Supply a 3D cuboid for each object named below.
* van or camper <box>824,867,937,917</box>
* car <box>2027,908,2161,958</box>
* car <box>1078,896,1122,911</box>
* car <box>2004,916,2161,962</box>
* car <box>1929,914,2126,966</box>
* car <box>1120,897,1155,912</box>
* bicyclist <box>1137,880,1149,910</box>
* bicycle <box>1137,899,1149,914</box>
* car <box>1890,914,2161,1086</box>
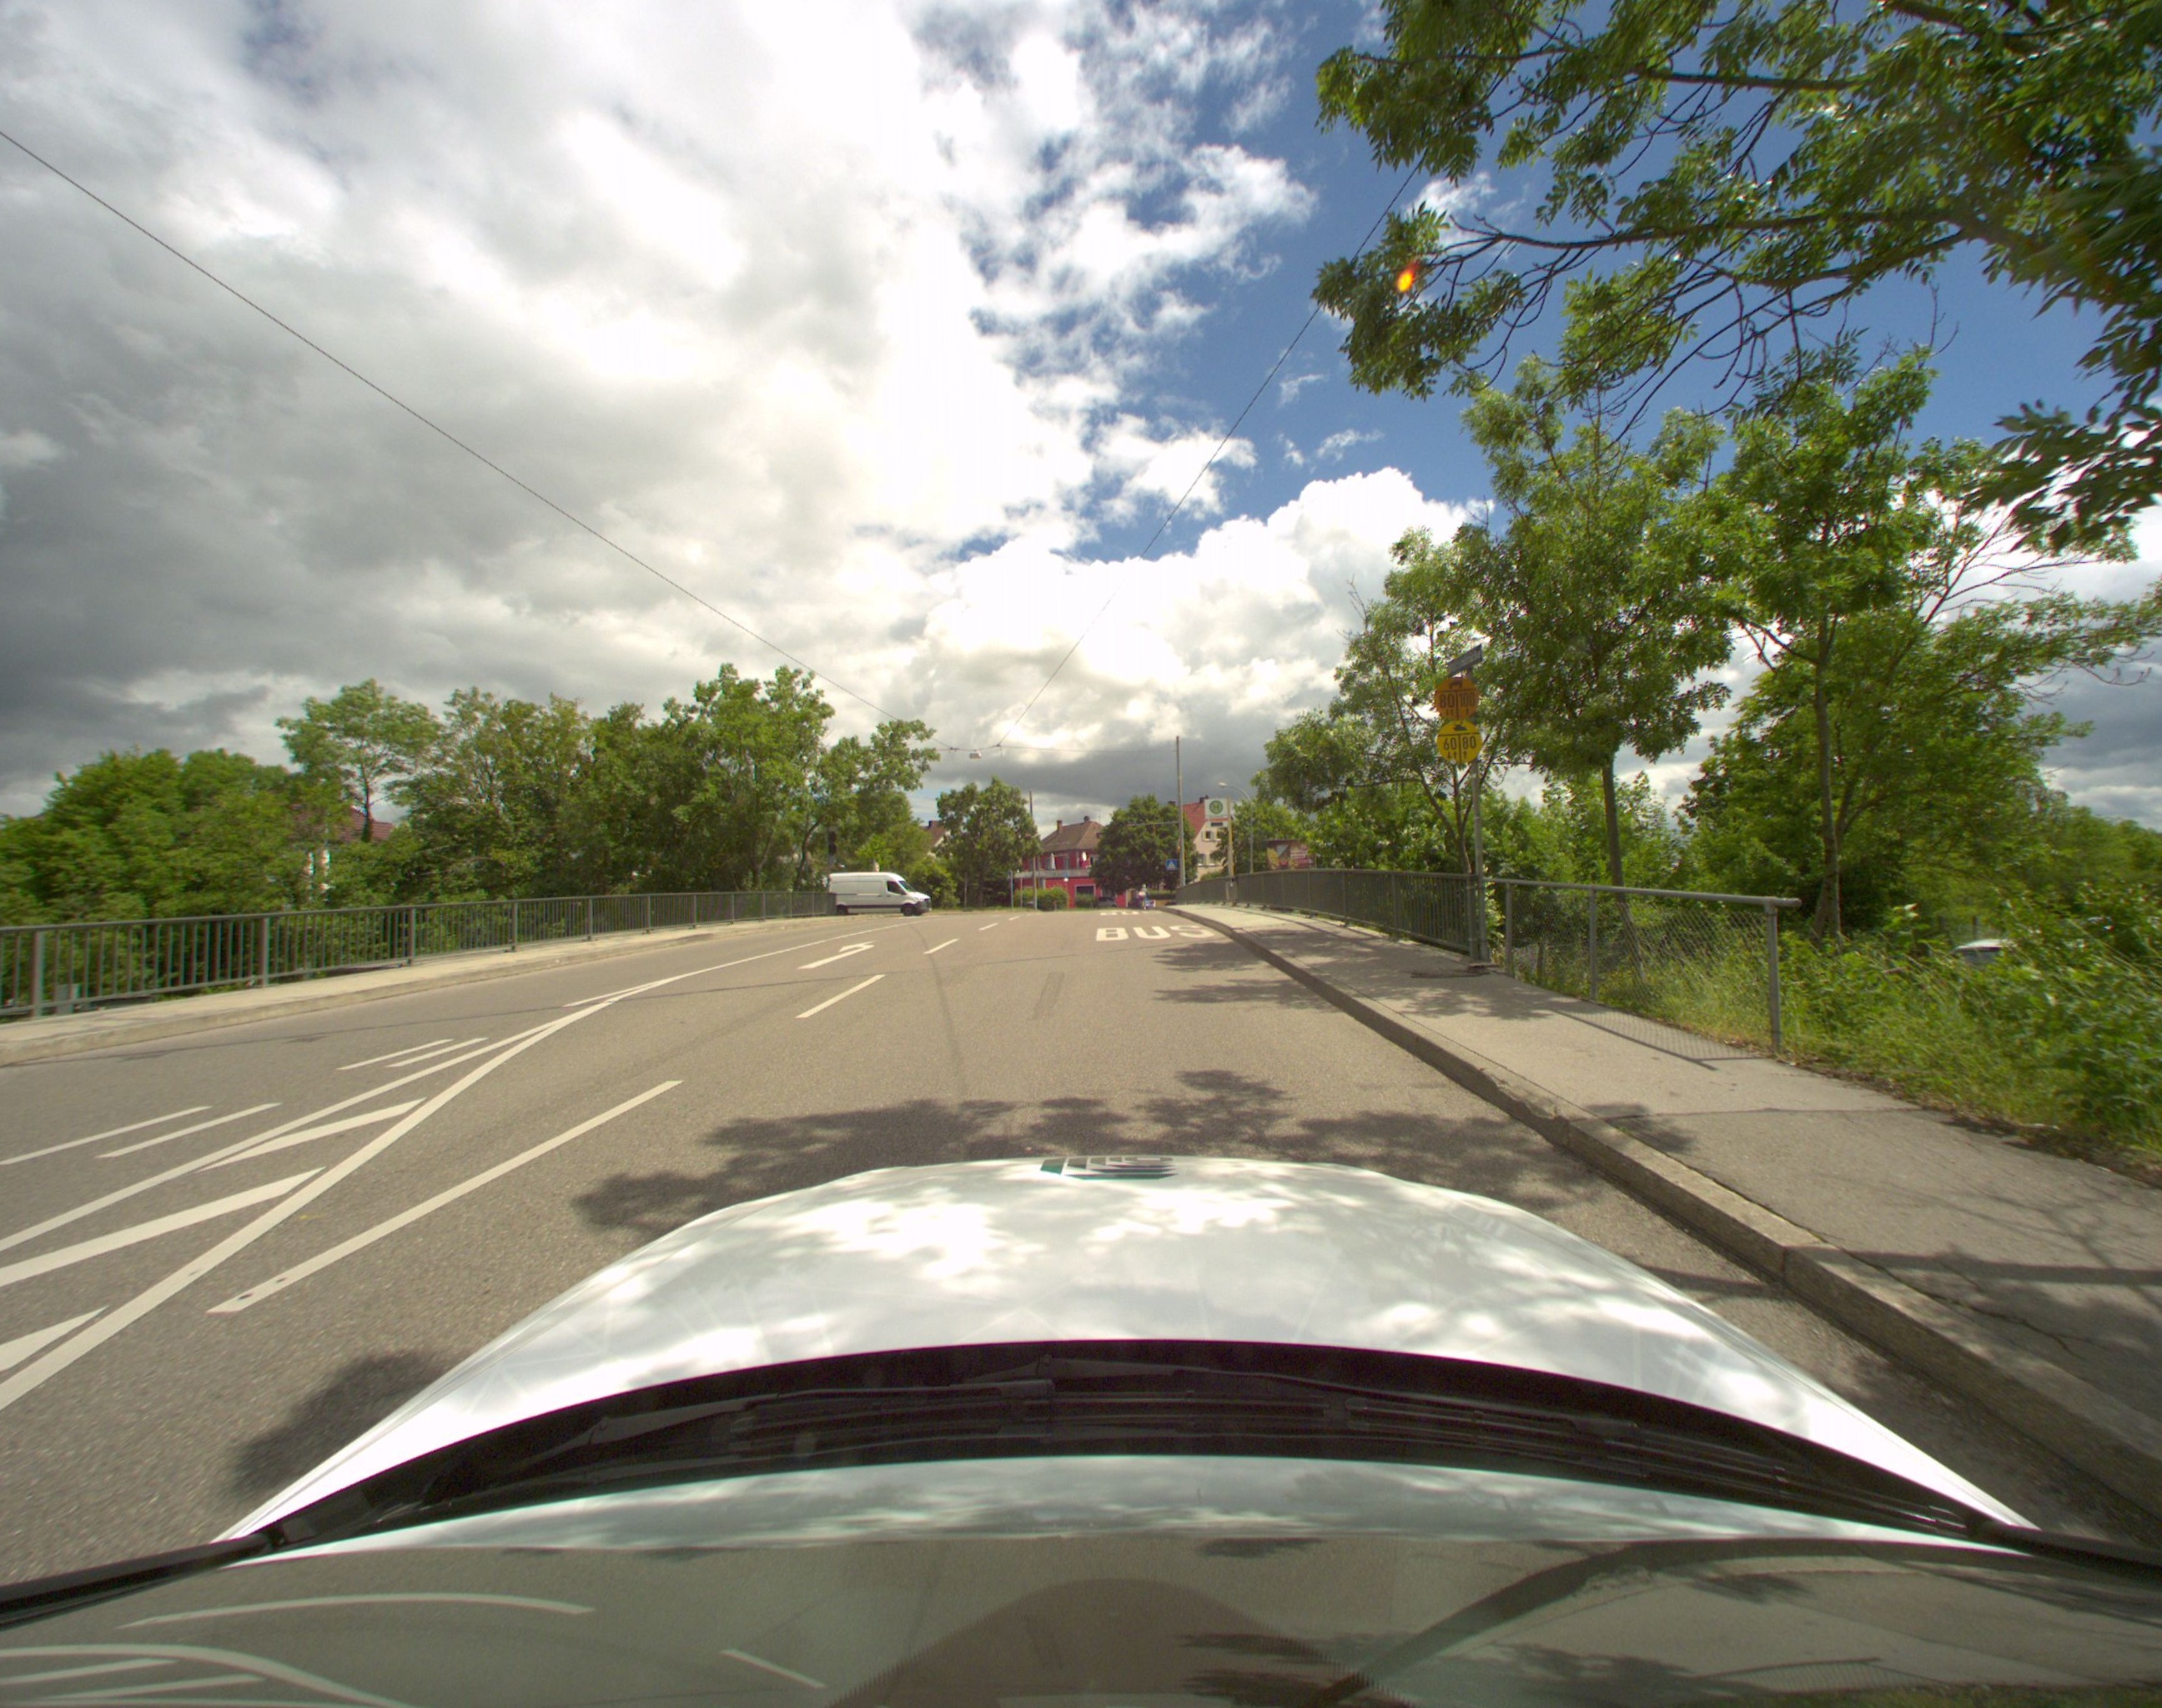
[{"bbox_3d":[-11.505,2.235,47.015,5.884,2.568,2.195,-3,-5,3],"label":"van or camper"},{"bbox_3d":[43.875,3.353,34.861,2.003,1.904,3.967,3,-3,-24],"label":"car"},{"bbox_3d":[1.870,4.762,78.827,4.091,1.426,1.629,2,-4,-32],"label":"car"},{"bbox_3d":[39.392,3.277,31.817,2.003,1.508,3.967,3,-3,-24],"label":"car"},{"bbox_3d":[32.112,2.878,27.784,2.003,1.508,3.967,3,-3,-24],"label":"car"},{"bbox_3d":[5.873,5.298,85.245,1.848,1.378,3.776,2,-5,-30],"label":"car"},{"bbox_3d":[4.032,2.674,53.025,0.681,1.826,1.082,-1,-6,7],"label":"bicyclist"},{"bbox_3d":[4.062,3.405,53.048,0.684,0.879,2.105,-1,-6,7],"label":"bicycle"},{"bbox_3d":[12.740,1.717,10.722,4.363,1.670,1.853,0,-2,-30],"label":"car"}]
